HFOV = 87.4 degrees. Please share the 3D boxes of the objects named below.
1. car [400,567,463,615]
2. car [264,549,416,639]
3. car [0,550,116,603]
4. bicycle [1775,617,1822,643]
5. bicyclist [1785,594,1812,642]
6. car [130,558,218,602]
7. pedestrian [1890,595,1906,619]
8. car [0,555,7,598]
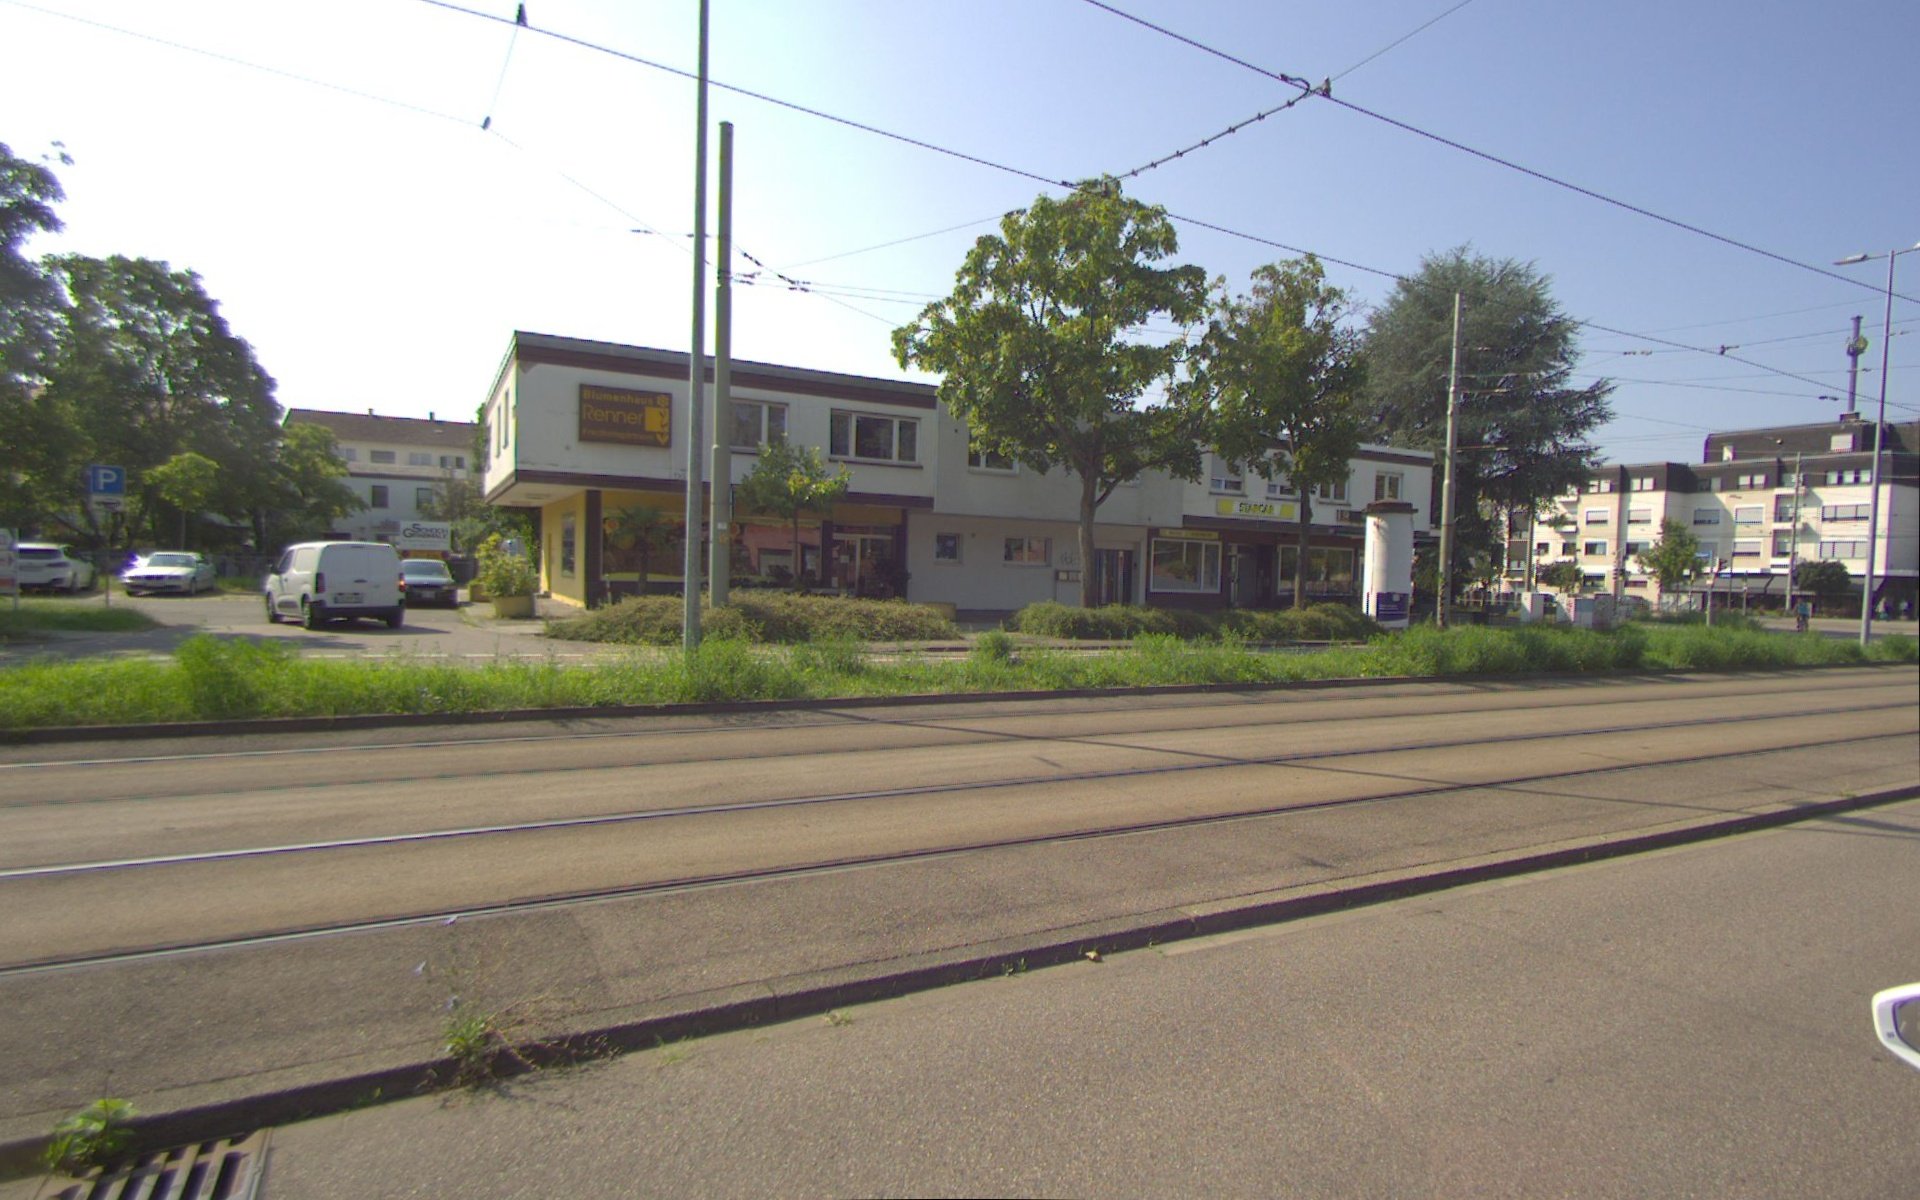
[{"bbox_3d":[-16.129,-0.312,30.593,1.595,1.361,3.894,0,2,-29],"label":"car"},{"bbox_3d":[-13.778,-0.215,22.214,1.976,1.782,4.361,-2,3,-44],"label":"car"},{"bbox_3d":[-28.436,-0.775,31.689,1.851,1.522,3.436,1,3,-24],"label":"car"},{"bbox_3d":[36.985,1.337,44.296,2.234,1.106,0.713,1,0,-25],"label":"bicycle"},{"bbox_3d":[36.967,0.796,44.297,0.764,2.092,0.635,1,0,-25],"label":"bicyclist"},{"bbox_3d":[-26.058,-0.673,33.404,1.470,1.361,3.521,1,2,-24],"label":"car"},{"bbox_3d":[70.271,0.497,75.254,0.689,1.764,0.677,1,0,-28],"label":"pedestrian"},{"bbox_3d":[-30.796,-0.706,30.409,1.468,1.361,3.700,1,2,-21],"label":"car"}]
